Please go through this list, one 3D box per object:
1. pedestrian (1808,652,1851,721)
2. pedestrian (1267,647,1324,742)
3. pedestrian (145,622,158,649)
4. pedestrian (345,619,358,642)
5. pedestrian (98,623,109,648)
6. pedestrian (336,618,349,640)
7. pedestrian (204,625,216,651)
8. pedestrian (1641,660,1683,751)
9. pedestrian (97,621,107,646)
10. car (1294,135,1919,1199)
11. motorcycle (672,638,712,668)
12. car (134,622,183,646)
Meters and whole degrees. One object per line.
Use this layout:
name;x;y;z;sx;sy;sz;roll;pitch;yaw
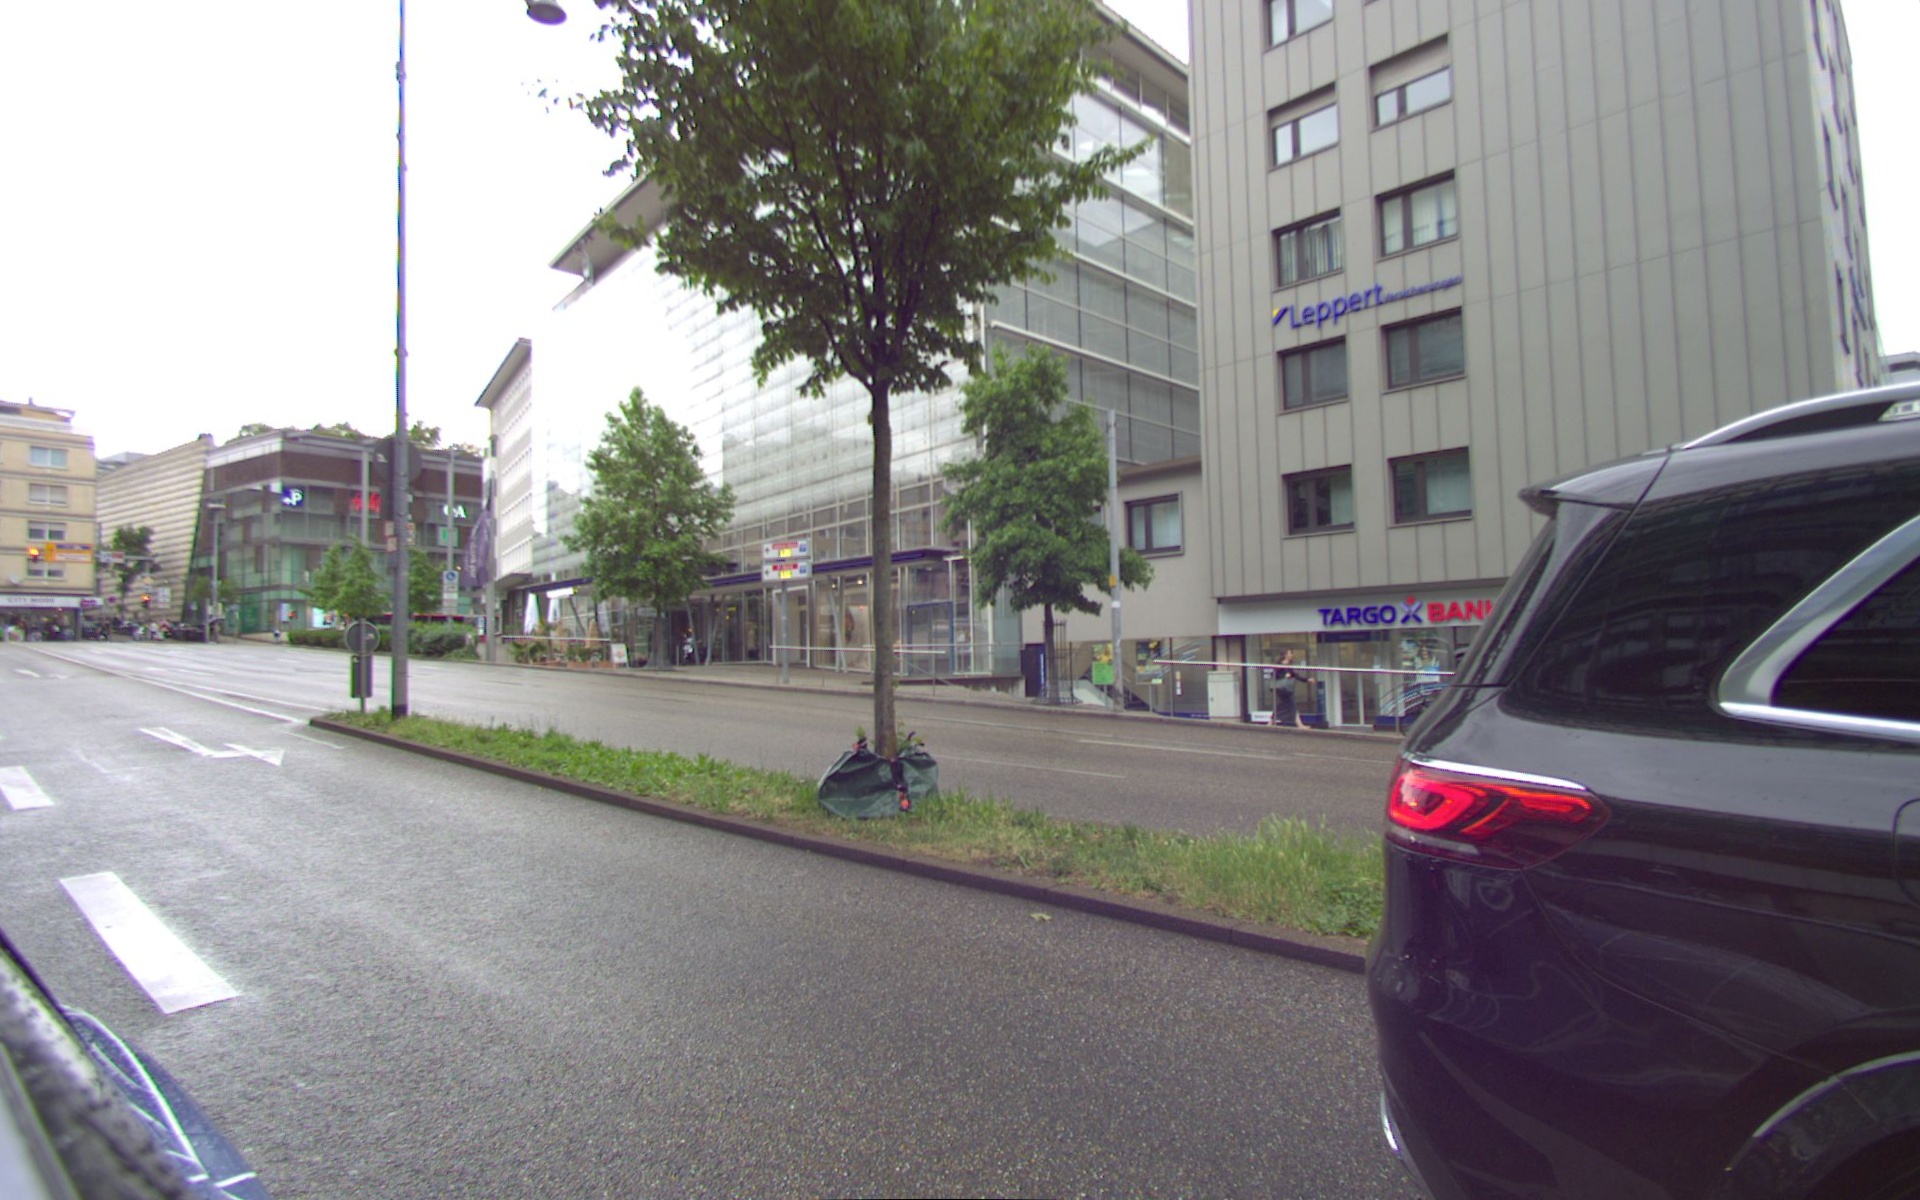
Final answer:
pedestrian;22.325;2.204;25.994;0.724;1.710;0.781;0;-3;34
pedestrian;6.149;1.709;18.547;0.626;1.649;0.791;0;0;-41
pedestrian;-55.097;2.408;68.979;0.617;1.788;0.689;0;0;-43
pedestrian;-44.672;2.246;74.280;0.603;1.642;0.625;-1;-3;44
pedestrian;-58.164;2.421;68.707;0.602;1.642;0.422;-1;-3;44
pedestrian;-45.570;2.153;74.734;0.602;1.642;0.625;-1;-3;42
pedestrian;-53.284;2.671;71.892;0.618;1.788;0.689;0;0;-45
pedestrian;13.487;2.009;19.451;0.634;1.649;0.781;0;0;34
pedestrian;-56.578;2.221;66.718;0.603;1.642;0.422;-1;-3;45
car;3.100;0.379;0.803;5.069;1.884;1.892;0;0;40
motorcycle;-12.193;2.425;46.043;0.620;1.336;1.685;-1;-3;41
car;-72.190;3.056;91.192;1.966;2.029;4.602;2;-2;-19
